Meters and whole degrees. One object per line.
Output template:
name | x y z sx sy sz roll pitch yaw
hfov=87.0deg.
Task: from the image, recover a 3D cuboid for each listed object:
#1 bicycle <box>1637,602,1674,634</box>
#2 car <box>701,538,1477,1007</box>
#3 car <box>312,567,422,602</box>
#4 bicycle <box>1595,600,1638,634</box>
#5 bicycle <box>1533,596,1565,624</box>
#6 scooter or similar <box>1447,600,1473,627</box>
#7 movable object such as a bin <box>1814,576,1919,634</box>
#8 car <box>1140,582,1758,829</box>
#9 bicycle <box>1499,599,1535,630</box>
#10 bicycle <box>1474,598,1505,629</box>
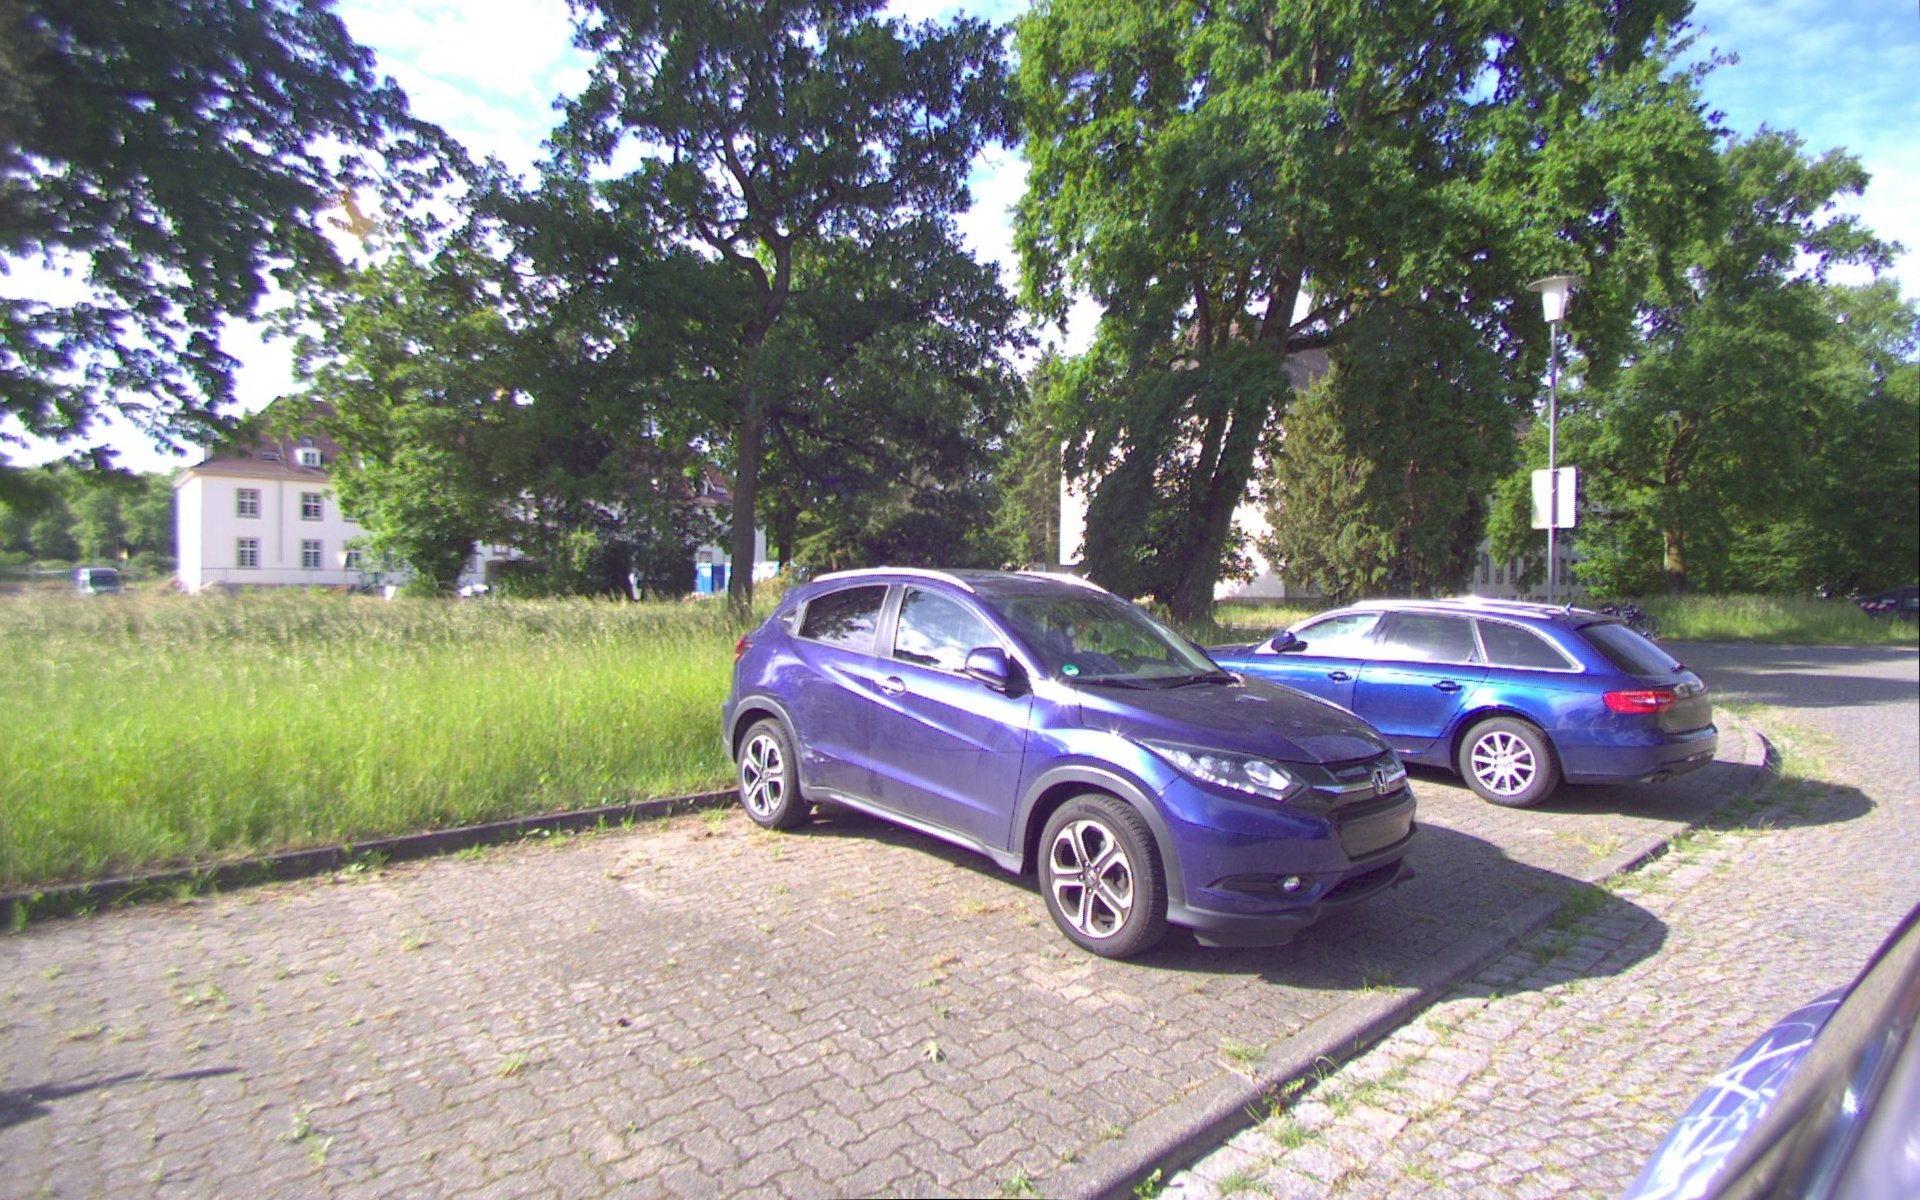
bicycle | 21.667 0.559 31.524 0.745 0.946 1.122 1 1 45
car | 0.338 0.549 5.621 1.721 1.611 4.183 0 1 -42
car | -39.267 -1.028 67.216 5.888 2.198 2.381 -1 1 -20
bicycle | 20.741 0.527 31.975 1.232 1.029 0.711 0 1 -35
bicycle | 21.949 0.358 37.734 0.699 1.029 1.024 1 1 11
scooter or similar | 17.348 0.462 35.113 0.767 0.941 0.257 1 1 43
movable object such as a bin | 30.357 0.157 31.866 1.959 1.781 4.948 0 1 -27
car | 3.812 0.631 8.667 1.683 1.425 4.461 0 3 -39
bicycle | 19.151 0.483 34.782 1.008 1.029 0.711 0 1 -35
bicycle | 18.377 0.467 35.106 1.009 1.029 0.619 0 1 -39
